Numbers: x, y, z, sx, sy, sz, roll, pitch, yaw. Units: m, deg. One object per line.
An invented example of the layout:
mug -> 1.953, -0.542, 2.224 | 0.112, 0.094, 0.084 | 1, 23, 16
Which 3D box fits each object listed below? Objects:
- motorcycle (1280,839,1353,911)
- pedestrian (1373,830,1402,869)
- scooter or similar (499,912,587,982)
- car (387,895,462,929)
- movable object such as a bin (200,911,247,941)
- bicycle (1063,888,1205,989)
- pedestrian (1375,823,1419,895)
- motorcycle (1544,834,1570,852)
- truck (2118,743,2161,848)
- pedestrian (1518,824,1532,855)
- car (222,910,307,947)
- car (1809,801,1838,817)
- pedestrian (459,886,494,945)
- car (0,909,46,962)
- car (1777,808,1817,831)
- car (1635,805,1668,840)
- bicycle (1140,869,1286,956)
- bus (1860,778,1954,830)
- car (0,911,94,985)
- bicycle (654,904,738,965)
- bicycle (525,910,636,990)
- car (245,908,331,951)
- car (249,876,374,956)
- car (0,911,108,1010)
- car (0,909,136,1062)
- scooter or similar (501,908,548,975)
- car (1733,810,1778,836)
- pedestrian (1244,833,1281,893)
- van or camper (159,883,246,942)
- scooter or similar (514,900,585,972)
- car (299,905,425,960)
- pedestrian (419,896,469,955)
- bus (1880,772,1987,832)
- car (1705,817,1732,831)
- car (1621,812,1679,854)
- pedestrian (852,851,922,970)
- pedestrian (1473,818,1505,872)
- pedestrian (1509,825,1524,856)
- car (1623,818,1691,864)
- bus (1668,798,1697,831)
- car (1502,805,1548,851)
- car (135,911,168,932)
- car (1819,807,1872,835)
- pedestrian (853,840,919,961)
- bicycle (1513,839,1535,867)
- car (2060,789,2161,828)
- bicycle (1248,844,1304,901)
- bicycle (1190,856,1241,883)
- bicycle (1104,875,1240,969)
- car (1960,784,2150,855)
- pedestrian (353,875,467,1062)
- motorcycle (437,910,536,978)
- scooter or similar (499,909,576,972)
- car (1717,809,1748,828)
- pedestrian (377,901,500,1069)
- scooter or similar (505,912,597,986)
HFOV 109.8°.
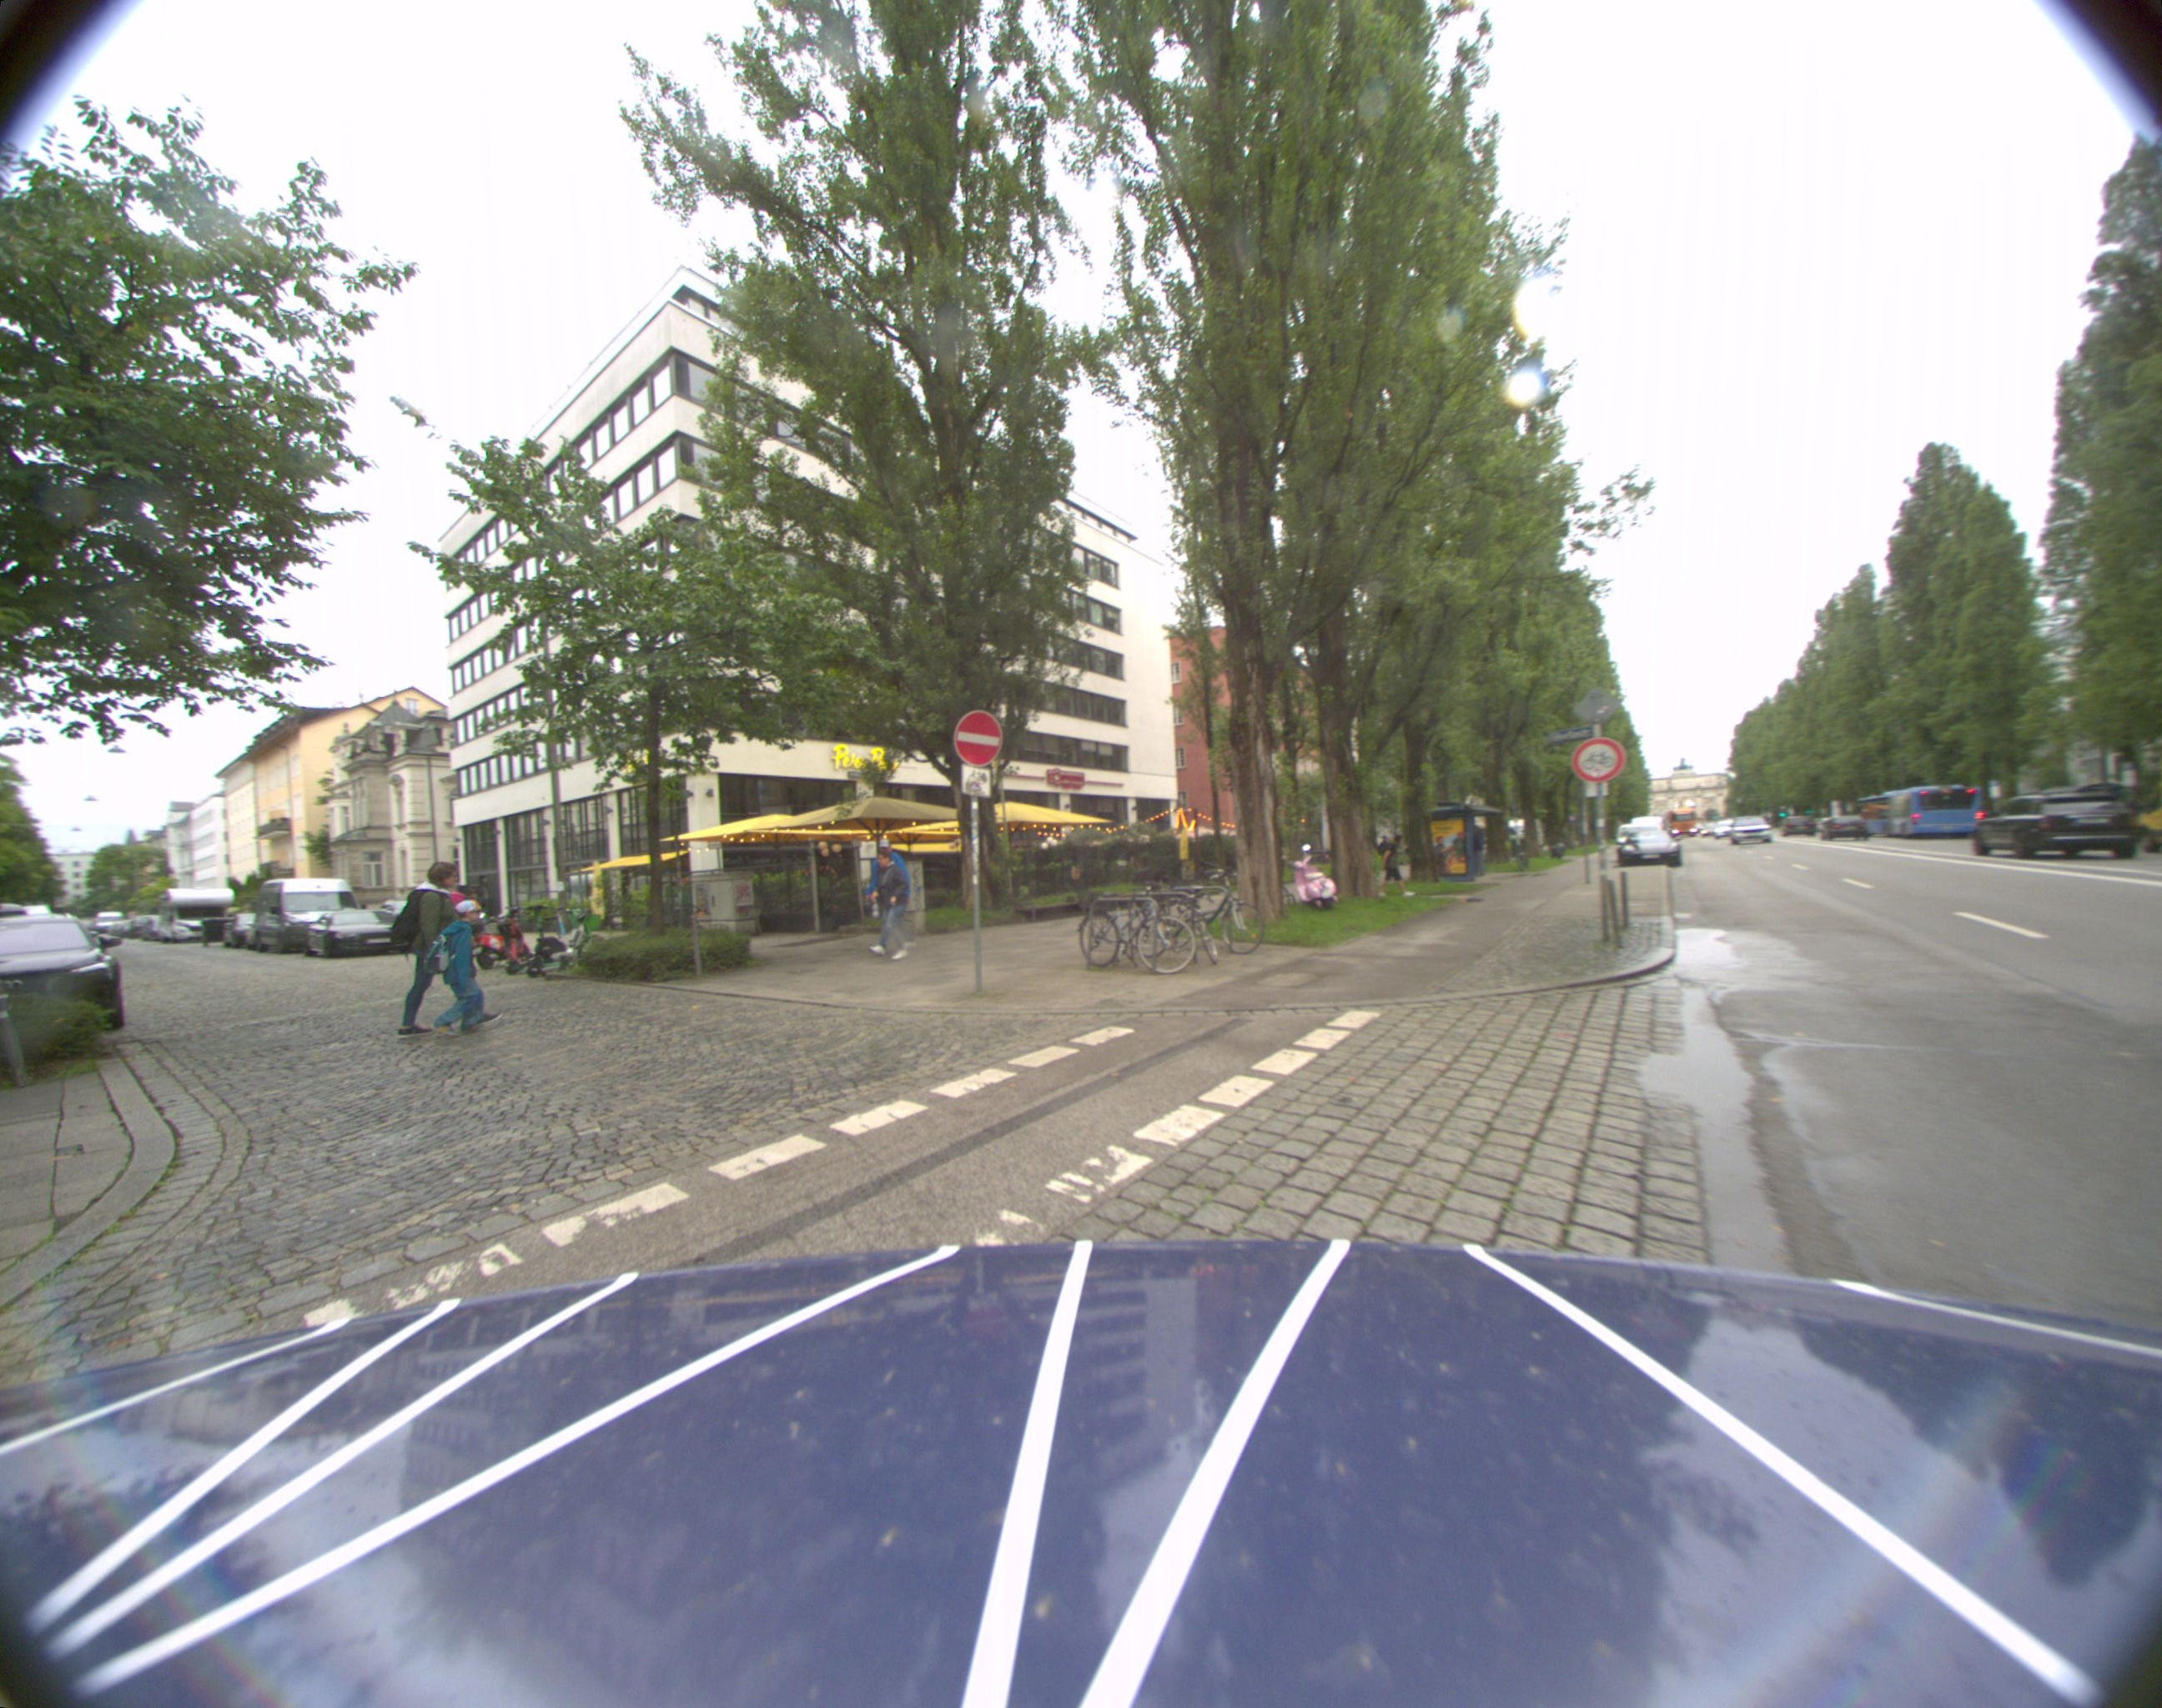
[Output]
motorcycle -> 4.690, 0.379, 15.279 | 0.629, 1.190, 1.988 | -4, 5, -6
pedestrian -> 13.527, -0.198, 33.506 | 0.888, 1.683, 0.769 | -3, 1, 41
scooter or similar -> -10.197, 1.744, 14.435 | 0.327, 1.137, 1.253 | -3, 1, 38
car -> -34.119, 3.034, 39.451 | 4.159, 1.523, 1.917 | -4, 0, 35
movable object such as a bin -> -40.713, 3.415, 36.083 | 1.171, 1.290, 1.257 | -4, 0, 33
bicycle -> 0.603, 0.983, 9.176 | 1.698, 1.087, 0.492 | -3, 1, 42
pedestrian -> 7.929, 0.117, 19.061 | 0.750, 1.763, 0.707 | -2, 2, 42
motorcycle -> 25.918, -0.583, 41.368 | 0.467, 0.933, 1.663 | -4, 0, 5
truck -> 30.252, -1.620, 19.396 | 2.594, 2.891, 7.093 | -3, 1, 38
pedestrian -> 24.541, -0.806, 42.004 | 0.516, 1.683, 0.487 | -3, 1, 41
car -> -35.862, 3.244, 33.364 | 3.990, 1.380, 2.004 | -4, 0, 36
car -> 87.152, -5.322, 89.235 | 1.994, 1.712, 4.356 | -2, 1, 38
pedestrian -> -18.398, 1.871, 23.129 | 0.649, 1.738, 0.577 | -3, 1, 36
car -> -53.965, 4.105, 38.148 | 5.596, 2.419, 2.092 | -4, 2, 35
car -> 59.164, -2.886, 62.846 | 1.994, 1.712, 4.824 | -2, 1, 38
car -> 46.824, -2.609, 62.331 | 2.007, 2.616, 6.010 | -3, 1, 37
bicycle -> 1.781, 0.801, 10.548 | 1.979, 1.087, 0.492 | -3, 1, 42
bus -> 55.749, -3.279, 51.539 | 2.919, 3.034, 9.814 | -4, 0, 40
car -> -26.699, 2.341, 19.111 | 4.331, 1.573, 2.003 | -4, 1, 35
bicycle -> -7.080, 1.457, 13.952 | 1.758, 1.016, 0.555 | -4, 1, 35
bicycle -> -8.778, 1.654, 13.419 | 0.553, 1.136, 1.763 | -4, 0, 6
car -> -31.944, 3.003, 30.576 | 3.990, 1.422, 2.004 | -4, 0, 39
car -> -27.293, 2.149, 26.894 | 5.834, 2.476, 2.070 | -3, -1, 35
car -> -21.664, 2.131, 15.421 | 4.661, 1.690, 2.023 | -4, 1, 35
car -> -14.466, 1.711, 10.158 | 4.190, 1.690, 1.930 | -4, 1, 35
scooter or similar -> -11.495, 1.777, 15.729 | 0.328, 1.265, 1.356 | -4, -1, -19
car -> 45.613, -2.114, 51.463 | 2.007, 1.571, 4.007 | -4, 0, 38
pedestrian -> 5.301, 0.253, 22.144 | 0.734, 1.683, 0.648 | -3, 1, 41
van or camper -> -51.437, 3.419, 44.447 | 7.299, 3.029, 2.470 | -4, 0, 35
scooter or similar -> -10.618, 1.616, 15.230 | 0.327, 1.266, 1.251 | -4, 1, 6
car -> -21.587, 2.302, 22.767 | 4.106, 1.322, 2.003 | -4, 0, 37
pedestrian -> -19.407, 2.156, 23.158 | 0.798, 1.696, 0.931 | -3, 1, 39
bus -> 50.818, -3.007, 45.567 | 2.919, 3.034, 8.533 | -4, 0, 40
car -> 71.376, -3.385, 85.168 | 1.644, 1.388, 4.007 | -3, 0, 31
car -> 27.083, -0.976, 36.256 | 2.007, 1.746, 4.008 | -4, -2, 36
pedestrian -> -2.936, 0.842, 11.547 | 0.702, 1.717, 0.645 | -4, 1, 14
pedestrian -> 14.334, -0.318, 26.686 | 0.888, 1.832, 0.769 | -3, 1, 30
pedestrian -> 24.236, -0.749, 42.277 | 0.516, 1.683, 0.487 | -3, 1, 41
car -> 22.975, -0.553, 30.273 | 2.007, 1.571, 4.007 | -3, 1, 38
bus -> 80.934, -5.315, 102.315 | 2.642, 4.088, 9.814 | -3, 0, 37
car -> 32.100, -1.875, 54.787 | 2.194, 2.999, 6.011 | -3, 0, 36
car -> -118.477, 8.595, 96.797 | 5.596, 2.418, 2.093 | -4, 0, 35
car -> 46.387, -2.036, 46.183 | 1.844, 1.518, 3.759 | -2, 1, 39
pedestrian -> -3.185, 0.748, 12.435 | 0.702, 1.897, 0.645 | -4, 1, 14
bicycle -> 17.320, -0.049, 29.681 | 0.552, 1.016, 1.766 | -3, 1, 34
car -> 42.946, -1.881, 31.587 | 1.789, 1.404, 3.888 | -3, 1, 38
bicycle -> 4.444, 0.403, 17.260 | 0.582, 1.182, 1.619 | -3, 1, 37
bicycle -> 5.239, 0.608, 29.571 | 1.797, 0.907, 0.621 | -4, 1, 35
bicycle -> 1.136, 0.853, 9.759 | 1.698, 1.087, 0.492 | -3, 1, 42
car -> 27.632, -0.971, 21.813 | 1.994, 1.739, 5.073 | -1, 2, 36
pedestrian -> -6.574, 1.075, 7.484 | 0.692, 1.691, 0.662 | -4, 1, -37
motorcycle -> -12.349, 1.837, 15.873 | 0.771, 1.188, 1.990 | -3, -1, -11
scooter or similar -> -11.147, 1.766, 15.591 | 1.250, 1.173, 0.390 | -4, 1, 5
car -> 61.343, -3.326, 71.545 | 2.007, 1.571, 4.007 | -3, 1, 38
pedestrian -> -6.073, 1.185, 7.236 | 0.772, 1.411, 0.816 | -4, 1, -37
scooter or similar -> -9.619, 1.694, 13.852 | 0.369, 1.137, 1.431 | -4, 1, 13
